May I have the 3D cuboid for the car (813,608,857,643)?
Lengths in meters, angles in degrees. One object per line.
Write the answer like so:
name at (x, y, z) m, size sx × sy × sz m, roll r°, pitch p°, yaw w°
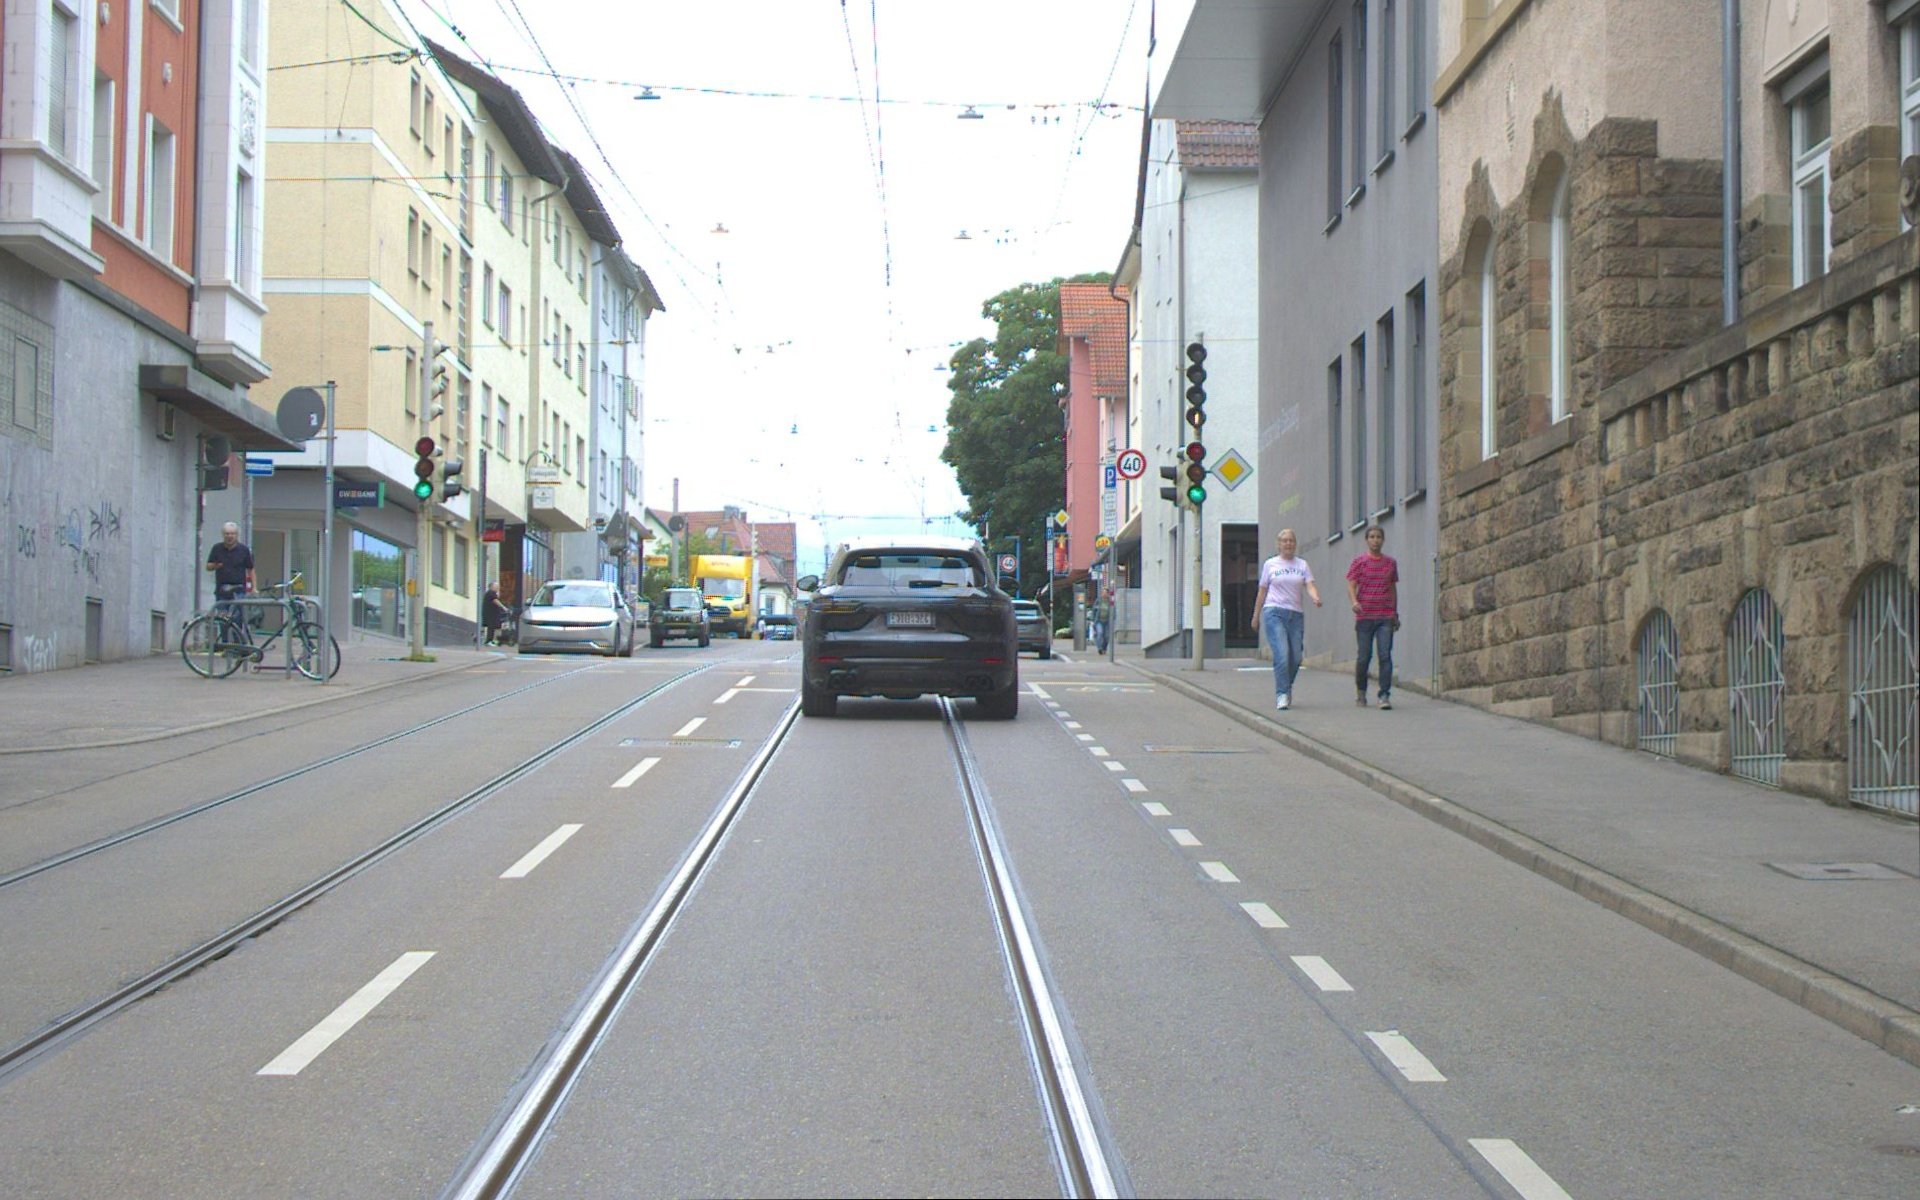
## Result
car at (-6.096, 1.242, 168.158) m, size 1.993 × 1.558 × 4.290 m, roll 1°, pitch 1°, yaw -1°

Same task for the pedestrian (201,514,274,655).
pedestrian at (-9.188, -0.202, 43.751) m, size 0.775 × 1.770 × 0.650 m, roll 1°, pitch 1°, yaw 0°

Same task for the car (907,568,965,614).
car at (-0.865, -0.336, 121.359) m, size 1.993 × 1.558 × 4.290 m, roll 1°, pitch 1°, yaw -1°

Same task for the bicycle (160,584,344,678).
bicycle at (-7.744, 0.333, 37.634) m, size 1.911 × 0.996 × 0.479 m, roll 1°, pitch 1°, yaw 0°

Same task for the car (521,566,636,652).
car at (-7.445, 0.151, 67.394) m, size 1.855 × 1.601 × 4.297 m, roll 1°, pitch 1°, yaw -1°

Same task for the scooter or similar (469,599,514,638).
scooter or similar at (-11.215, 0.435, 82.338) m, size 1.027 × 0.915 × 0.473 m, roll 1°, pitch 1°, yaw -5°

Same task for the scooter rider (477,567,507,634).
scooter rider at (-11.211, 0.015, 82.404) m, size 0.648 × 1.580 × 0.766 m, roll 1°, pitch 1°, yaw -5°

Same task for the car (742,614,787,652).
car at (-8.788, 1.464, 154.925) m, size 1.855 × 1.601 × 4.297 m, roll 1°, pitch 1°, yaw -1°

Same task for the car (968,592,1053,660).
car at (1.225, 0.623, 85.534) m, size 1.993 × 1.558 × 4.290 m, roll 1°, pitch 1°, yaw -1°

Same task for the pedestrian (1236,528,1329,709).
pedestrian at (3.016, 0.164, 32.184) m, size 0.791 × 1.661 × 0.798 m, roll 1°, pitch 1°, yaw 1°

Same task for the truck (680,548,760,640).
truck at (-8.336, -0.237, 120.079) m, size 2.302 × 3.026 × 9.034 m, roll 1°, pitch 0°, yaw -1°

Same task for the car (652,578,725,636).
car at (-7.870, 0.193, 100.022) m, size 1.855 × 1.601 × 4.297 m, roll 1°, pitch 1°, yaw -1°

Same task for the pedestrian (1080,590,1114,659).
pedestrian at (3.321, 0.589, 83.426) m, size 0.791 × 1.661 × 0.798 m, roll 1°, pitch 1°, yaw 1°

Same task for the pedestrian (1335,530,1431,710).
pedestrian at (3.954, 0.178, 32.202) m, size 0.791 × 1.661 × 0.798 m, roll 1°, pitch 1°, yaw 1°

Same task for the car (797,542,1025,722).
car at (-0.450, 0.252, 32.454) m, size 1.993 × 1.558 × 4.290 m, roll 1°, pitch 1°, yaw -1°
